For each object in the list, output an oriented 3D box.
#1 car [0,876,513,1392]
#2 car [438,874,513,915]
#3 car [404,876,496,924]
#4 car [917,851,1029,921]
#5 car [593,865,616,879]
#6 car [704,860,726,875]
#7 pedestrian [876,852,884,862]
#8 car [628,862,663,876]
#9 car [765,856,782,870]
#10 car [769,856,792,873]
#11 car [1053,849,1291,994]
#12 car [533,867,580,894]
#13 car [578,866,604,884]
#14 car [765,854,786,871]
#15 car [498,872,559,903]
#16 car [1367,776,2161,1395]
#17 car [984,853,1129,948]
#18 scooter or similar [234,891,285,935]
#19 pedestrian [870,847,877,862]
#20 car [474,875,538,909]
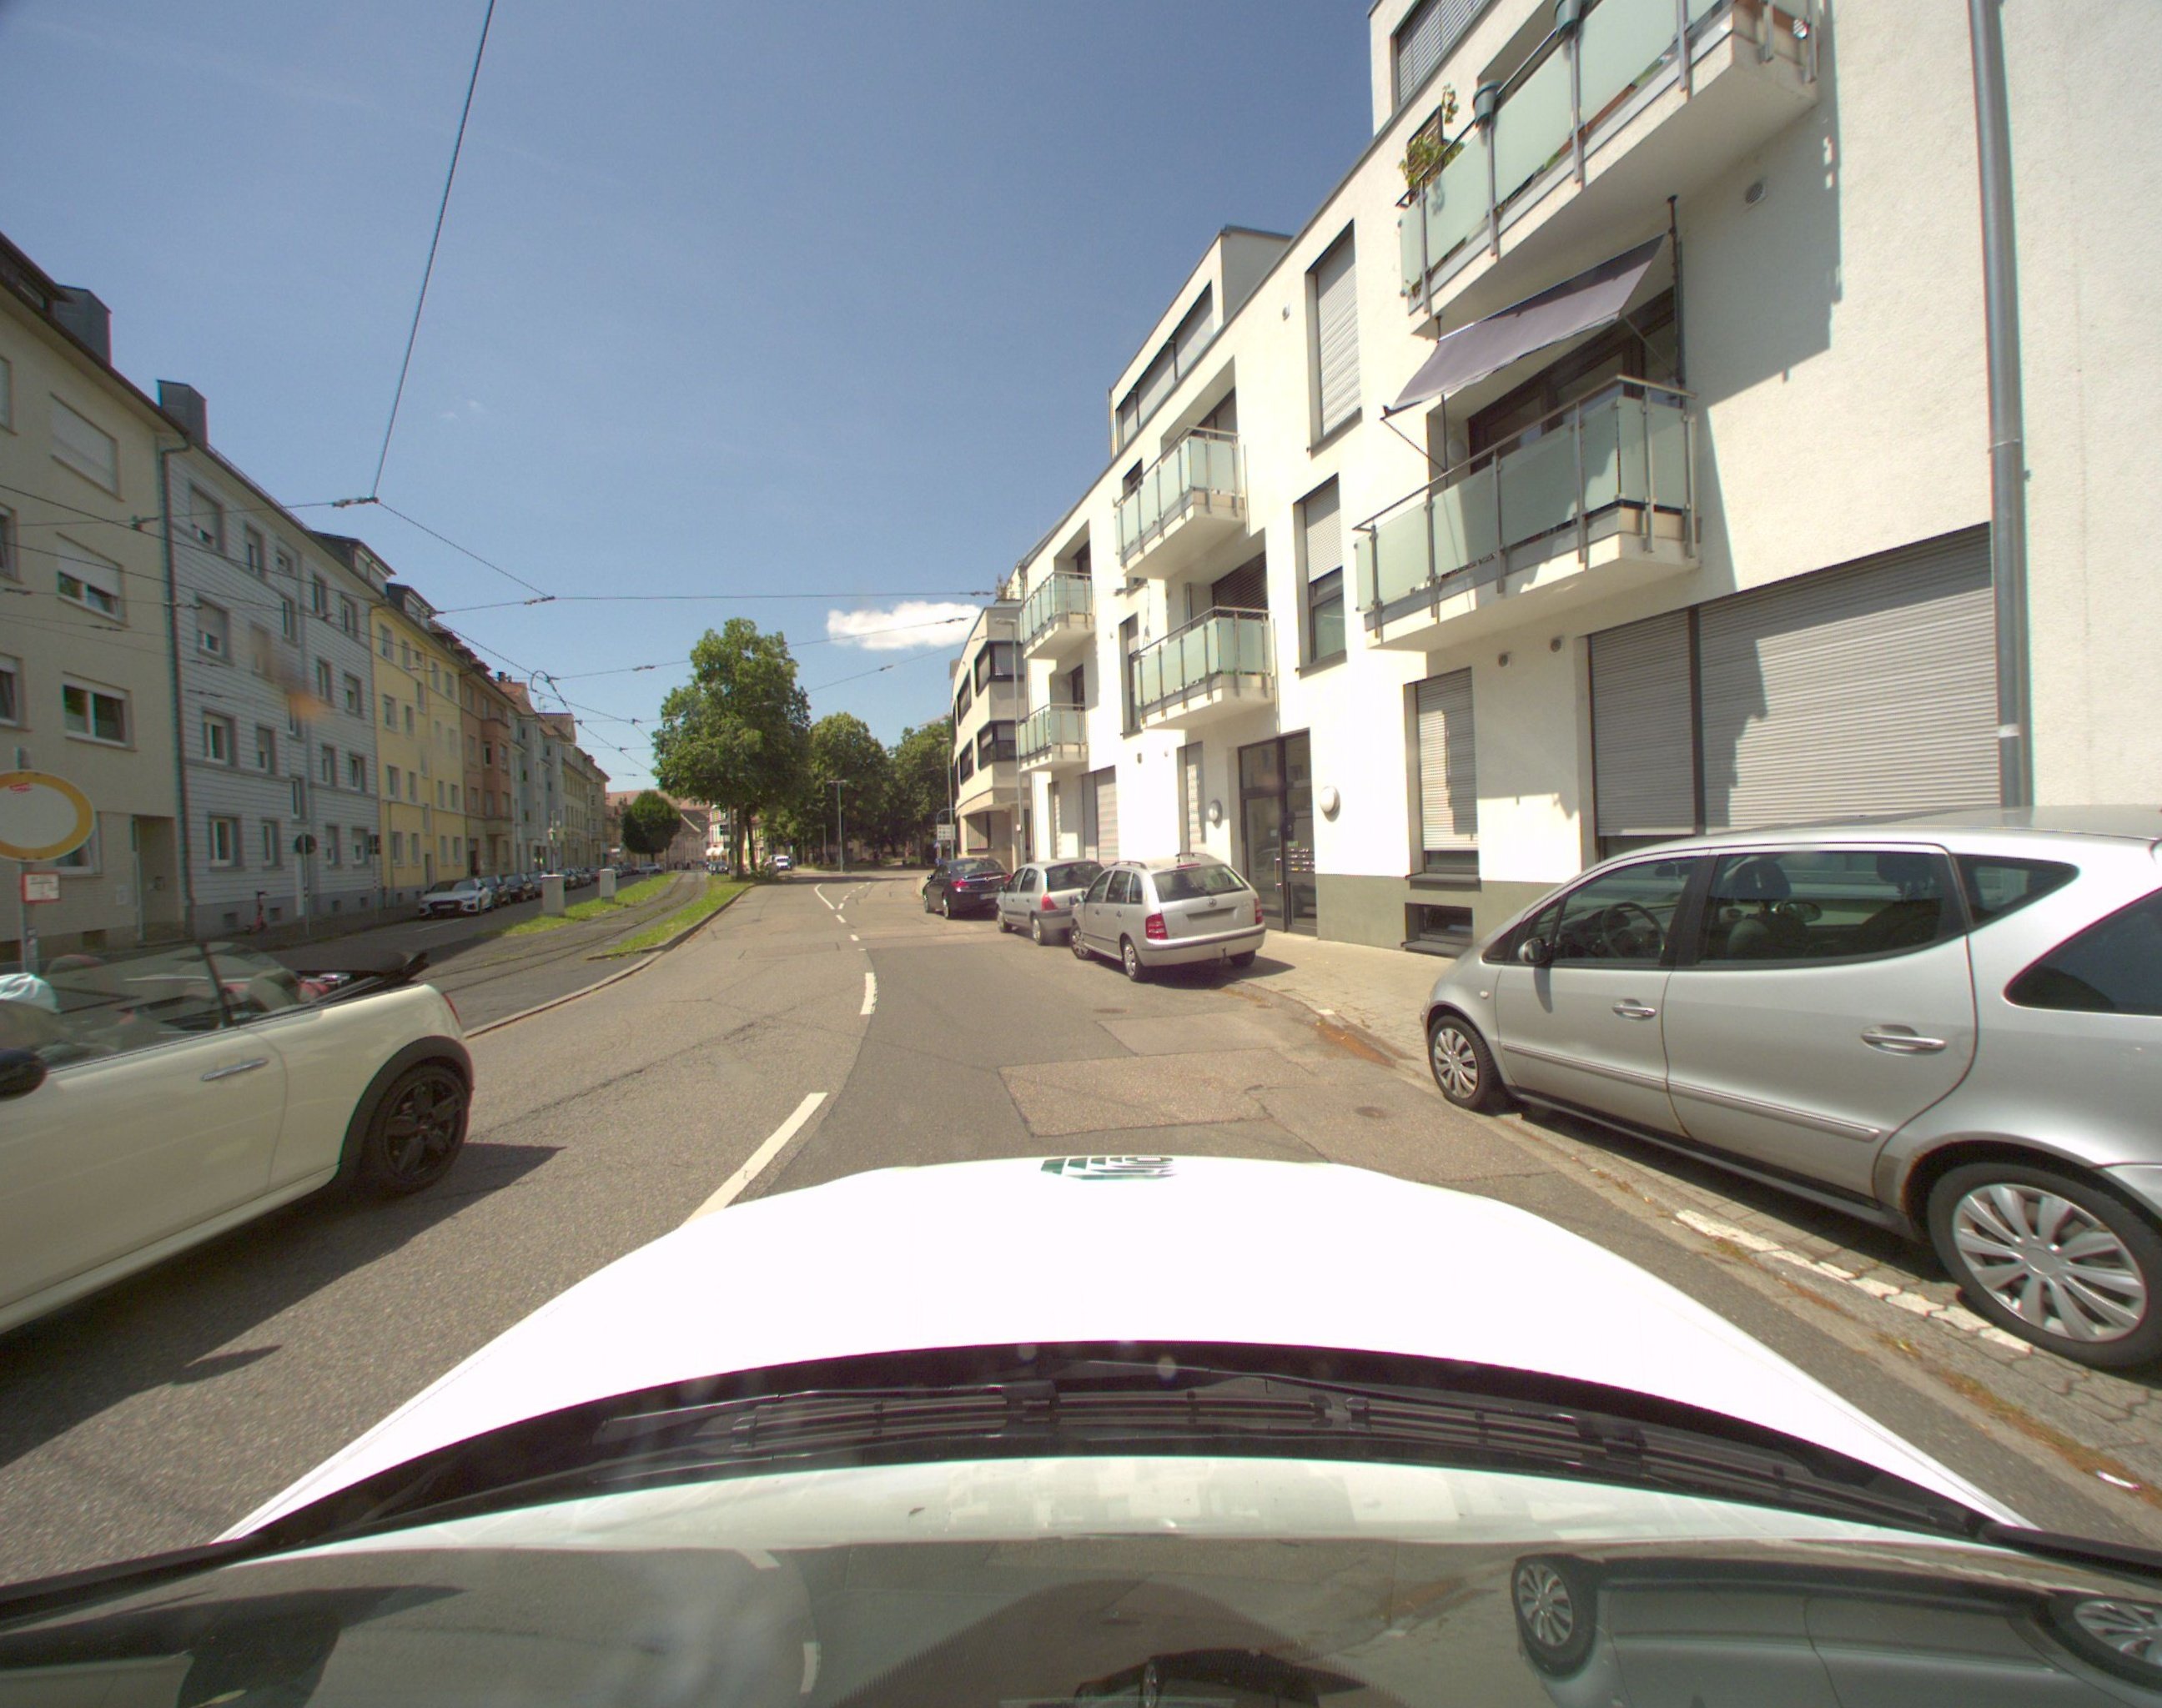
[{"bbox_3d":[-4.110,0.888,2.737,1.768,1.464,3.745,-2,0,-1],"label":"car"},{"bbox_3d":[-26.761,1.739,36.140,1.939,1.505,4.287,-4,1,-27],"label":"car"},{"bbox_3d":[-24.220,1.720,31.431,1.939,1.451,4.337,-5,2,-27],"label":"car"},{"bbox_3d":[-3.024,0.808,21.886,1.807,1.509,4.514,-6,1,-22],"label":"car"},{"bbox_3d":[-50.574,1.897,86.538,1.695,1.360,3.825,-4,2,-25],"label":"car"},{"bbox_3d":[-39.708,1.403,88.232,1.914,1.534,4.205,-1,0,-27],"label":"car"},{"bbox_3d":[-26.686,0.385,108.203,0.906,1.252,1.144,-2,2,-10],"label":"pedestrian"},{"bbox_3d":[-61.366,2.096,114.653,4.229,1.504,1.985,-4,2,-30],"label":"car"},{"bbox_3d":[-40.203,1.152,106.419,1.791,1.624,4.450,-2,1,-24],"label":"car"},{"bbox_3d":[-33.912,1.172,91.788,2.004,1.826,4.385,-2,1,-26],"label":"car"},{"bbox_3d":[1.007,0.760,11.184,1.731,1.433,4.020,-6,1,-16],"label":"car"},{"bbox_3d":[-35.080,1.730,54.586,1.938,1.490,4.822,-4,2,-25],"label":"car"},{"bbox_3d":[-43.878,1.833,72.990,1.579,1.451,3.595,-4,2,-25],"label":"car"},{"bbox_3d":[-37.294,1.015,99.471,2.059,2.002,5.207,-2,1,-24],"label":"car"},{"bbox_3d":[-30.834,1.848,45.578,1.937,1.397,4.824,-4,2,-24],"label":"car"},{"bbox_3d":[3.267,0.577,3.909,1.729,1.610,3.783,-5,0,-13],"label":"car"},{"bbox_3d":[-0.605,0.810,15.671,1.598,1.433,3.681,-6,1,-20],"label":"car"},{"bbox_3d":[-24.306,1.737,24.115,0.641,1.223,1.310,-1,-2,-25],"label":"scooter or similar"},{"bbox_3d":[-27.489,0.106,108.002,0.748,1.910,0.682,-2,2,-10],"label":"pedestrian"},{"bbox_3d":[-28.666,1.854,40.727,1.840,1.400,4.108,-4,1,-25],"label":"car"}]
